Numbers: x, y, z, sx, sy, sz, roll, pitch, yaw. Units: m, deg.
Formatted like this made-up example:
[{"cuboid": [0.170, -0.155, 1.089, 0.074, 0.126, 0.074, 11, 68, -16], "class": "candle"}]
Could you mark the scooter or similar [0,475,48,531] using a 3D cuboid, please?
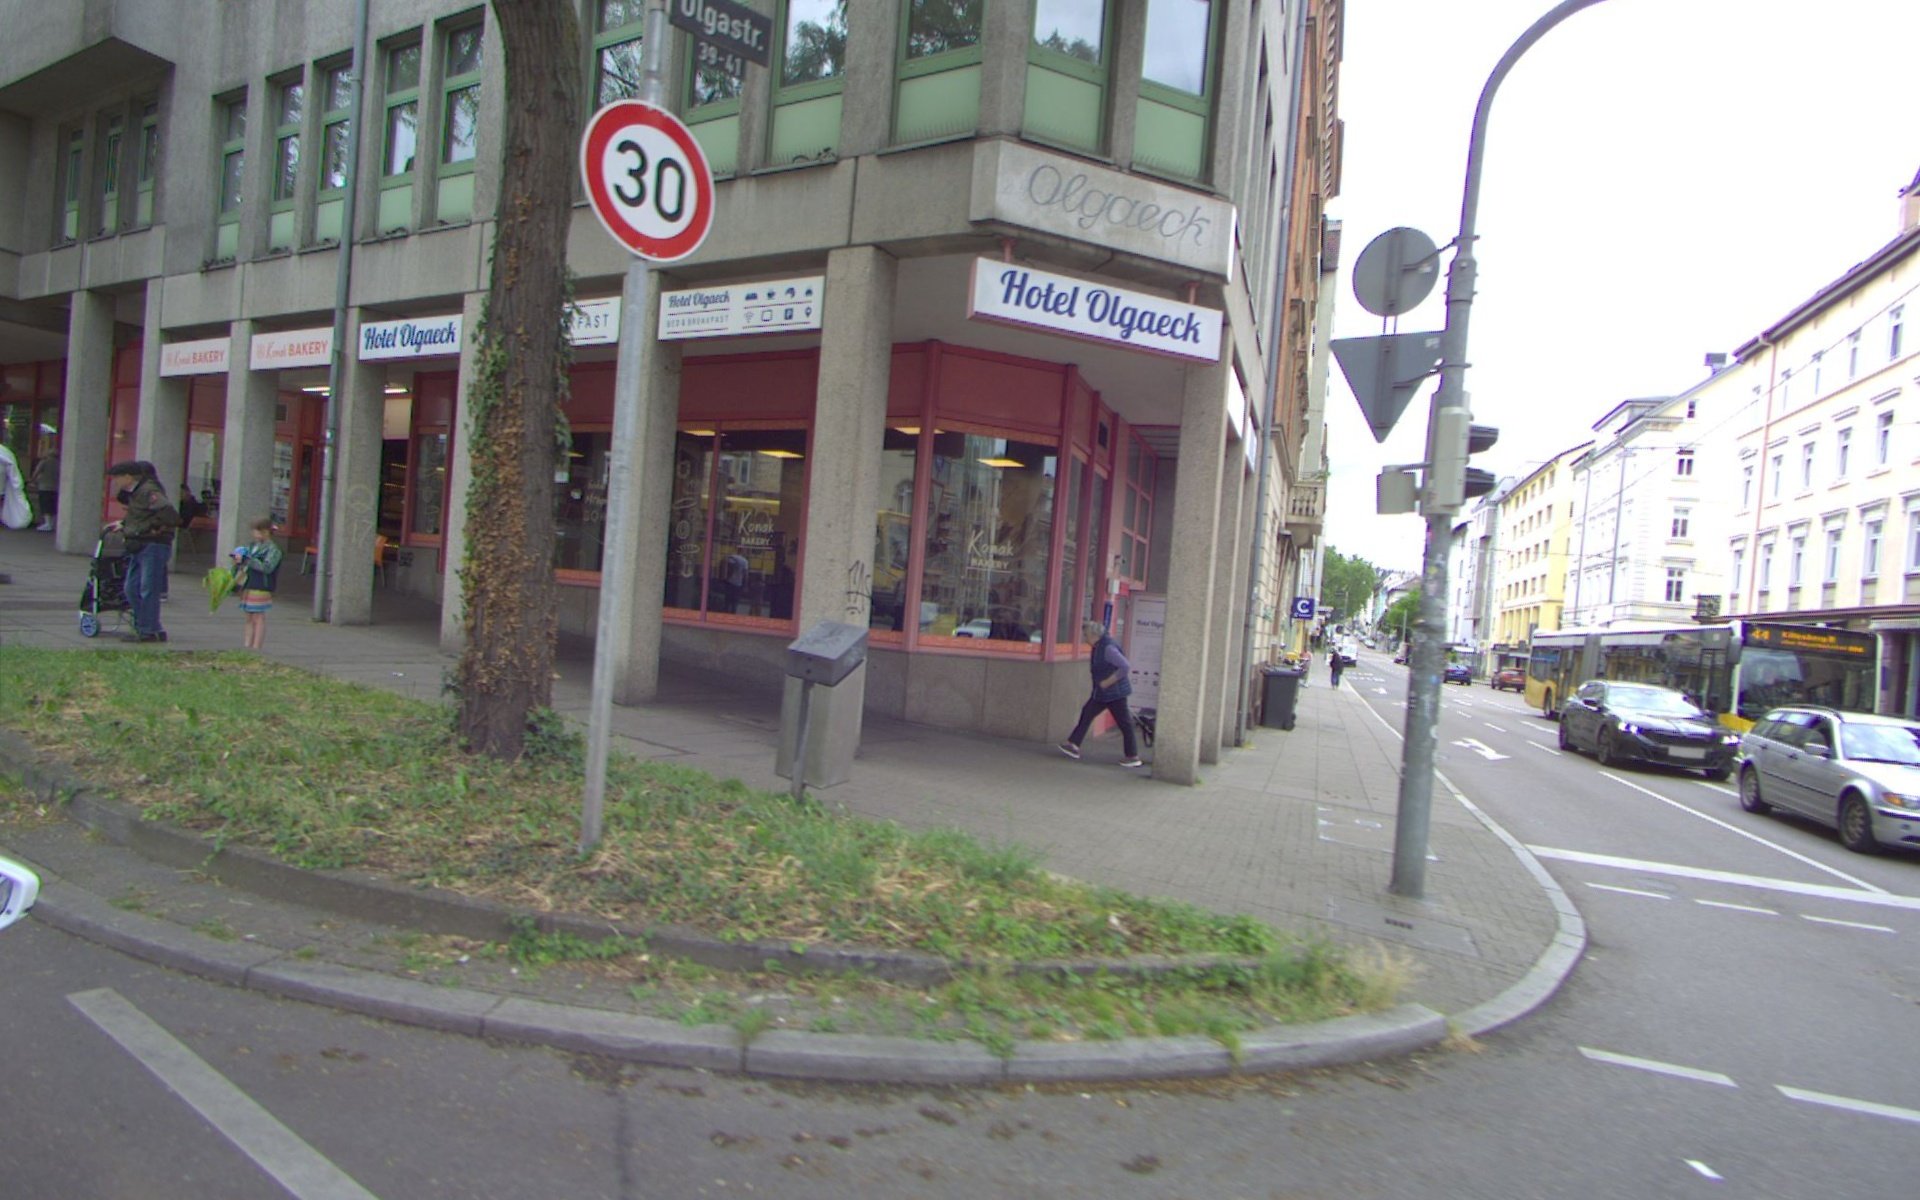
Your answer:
[{"cuboid": [-20.596, -2.130, 22.051, 0.852, 1.124, 0.755, 4, 3, -44], "class": "scooter or similar"}]

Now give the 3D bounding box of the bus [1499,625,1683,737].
[{"cuboid": [21.779, 2.660, 35.564, 2.665, 3.074, 11.355, 5, -1, 19], "class": "bus"}]

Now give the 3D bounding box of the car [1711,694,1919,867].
[{"cuboid": [10.556, 2.012, 11.453, 1.819, 1.446, 4.161, 7, 0, 18], "class": "car"}]

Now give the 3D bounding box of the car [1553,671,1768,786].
[{"cuboid": [12.751, 2.254, 18.679, 1.962, 1.508, 4.270, 7, 0, 18], "class": "car"}]

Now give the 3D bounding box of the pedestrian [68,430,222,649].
[{"cuboid": [-7.399, -0.534, 9.139, 0.819, 1.828, 0.722, 9, 4, 26], "class": "pedestrian"}]

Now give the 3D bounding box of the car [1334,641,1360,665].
[{"cuboid": [38.439, 5.258, 99.943, 1.962, 2.038, 4.000, 7, 0, 18], "class": "car"}]

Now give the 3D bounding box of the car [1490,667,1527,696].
[{"cuboid": [35.756, 5.285, 65.599, 1.624, 1.585, 3.659, 7, 0, 23], "class": "car"}]

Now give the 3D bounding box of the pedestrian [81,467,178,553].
[{"cuboid": [-14.791, -1.588, 17.926, 0.743, 1.382, 1.057, 8, 3, 23], "class": "pedestrian"}]

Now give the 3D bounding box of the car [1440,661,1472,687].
[{"cuboid": [34.570, 5.150, 70.163, 1.624, 1.585, 3.659, 7, 0, 23], "class": "car"}]

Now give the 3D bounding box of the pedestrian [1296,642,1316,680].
[{"cuboid": [16.490, 2.895, 47.929, 0.713, 1.715, 0.679, 6, -1, 22], "class": "pedestrian"}]

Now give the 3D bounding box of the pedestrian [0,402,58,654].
[{"cuboid": [-7.623, -0.574, 7.698, 0.720, 1.898, 0.735, 6, 1, 26], "class": "pedestrian"}]

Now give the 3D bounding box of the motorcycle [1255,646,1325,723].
[{"cuboid": [6.724, 1.684, 20.662, 1.130, 1.313, 2.658, 7, 0, 16], "class": "motorcycle"}]

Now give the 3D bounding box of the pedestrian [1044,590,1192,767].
[{"cuboid": [1.685, 0.828, 10.805, 1.112, 1.734, 0.851, 6, 1, -25], "class": "pedestrian"}]

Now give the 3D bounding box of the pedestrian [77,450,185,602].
[{"cuboid": [-9.638, -0.846, 11.700, 0.751, 1.634, 0.617, 10, 4, 26], "class": "pedestrian"}]

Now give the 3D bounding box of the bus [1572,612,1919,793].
[{"cuboid": [18.106, 2.150, 24.470, 2.821, 3.080, 11.592, 6, 0, 19], "class": "bus"}]

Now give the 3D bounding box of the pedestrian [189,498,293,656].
[{"cuboid": [-6.505, -0.197, 9.108, 0.510, 1.350, 0.472, 6, 0, 26], "class": "pedestrian"}]

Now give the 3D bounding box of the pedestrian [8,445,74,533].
[{"cuboid": [-19.799, -2.381, 21.680, 0.665, 1.744, 0.763, 8, 1, 32], "class": "pedestrian"}]

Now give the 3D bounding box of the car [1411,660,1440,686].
[{"cuboid": [37.988, 5.946, 82.198, 1.821, 1.789, 4.159, 7, 0, 23], "class": "car"}]
